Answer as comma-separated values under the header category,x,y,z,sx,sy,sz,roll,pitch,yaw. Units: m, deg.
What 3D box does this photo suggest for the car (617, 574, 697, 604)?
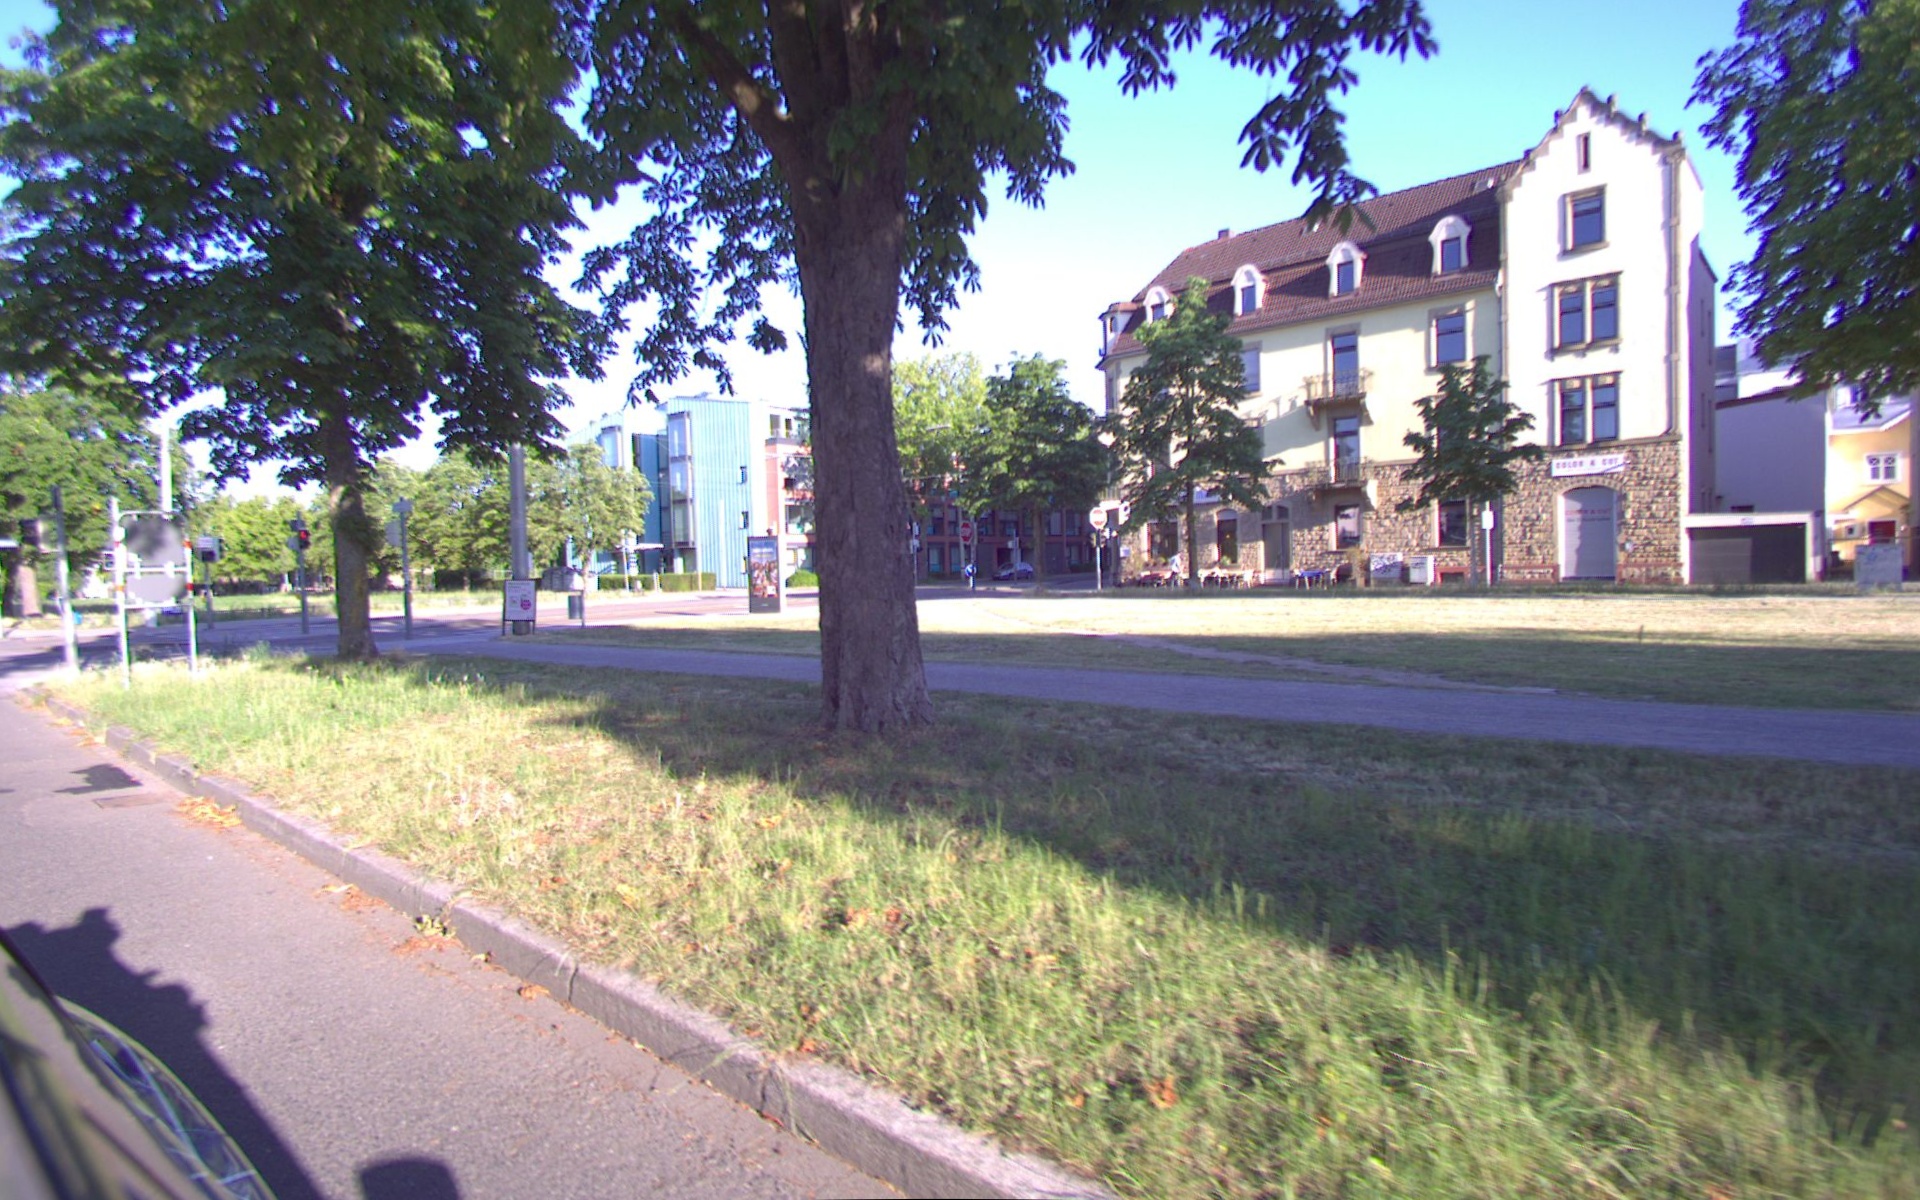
category,x,y,z,sx,sy,sz,roll,pitch,yaw
car,-20.811,-0.803,69.699,1.964,1.683,5.163,1,5,35

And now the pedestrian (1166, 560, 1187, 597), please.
category,x,y,z,sx,sy,sz,roll,pitch,yaw
pedestrian,9.894,-0.973,46.177,0.682,1.636,0.610,1,5,40

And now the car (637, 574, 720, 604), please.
category,x,y,z,sx,sy,sz,roll,pitch,yaw
car,-18.946,-0.775,68.238,1.998,1.683,5.157,1,5,39
